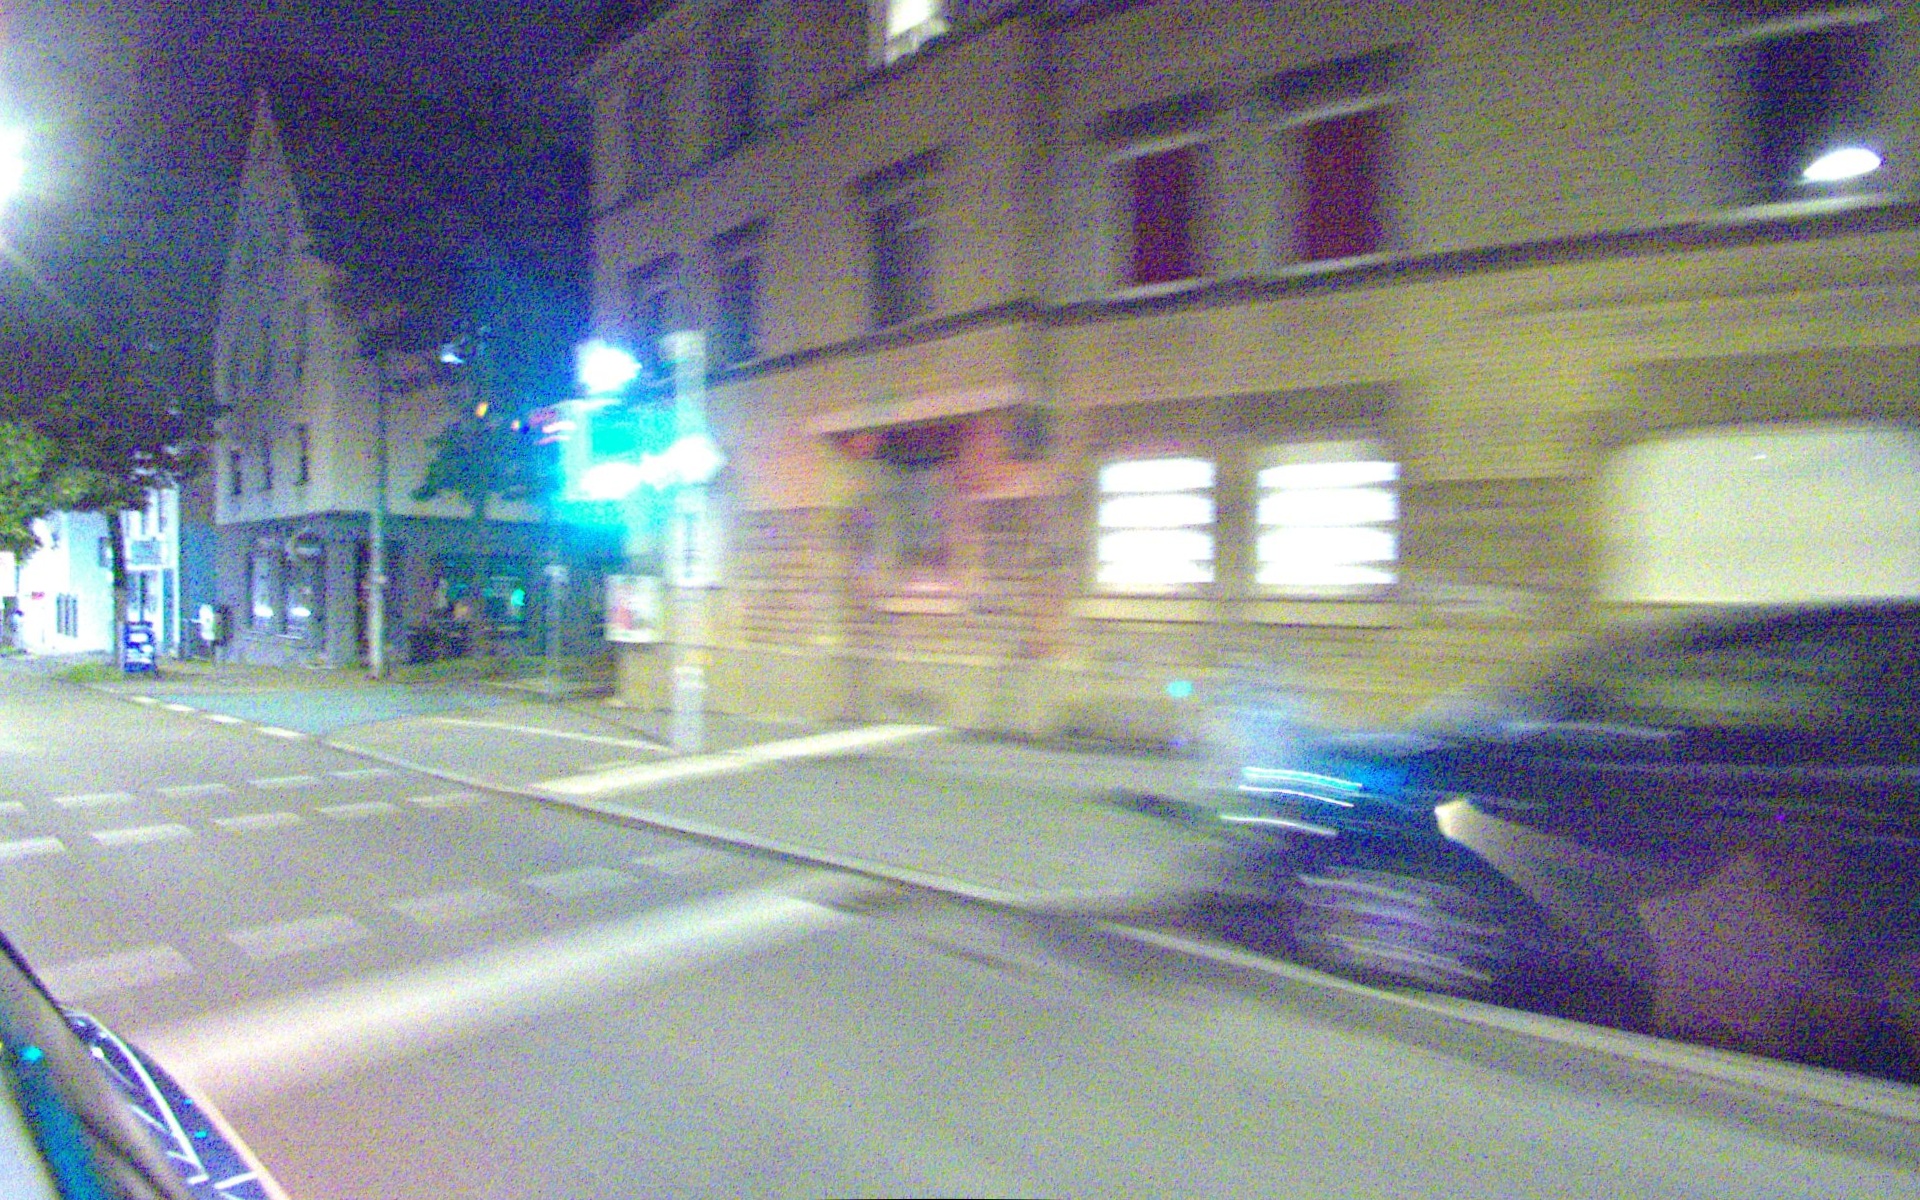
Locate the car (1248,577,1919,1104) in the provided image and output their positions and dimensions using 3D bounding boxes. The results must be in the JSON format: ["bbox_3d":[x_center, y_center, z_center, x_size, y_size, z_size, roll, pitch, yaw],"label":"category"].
[{"bbox_3d":[3.151,0.690,3.685,3.697,1.526,1.632,-1,0,38],"label":"car"}]
